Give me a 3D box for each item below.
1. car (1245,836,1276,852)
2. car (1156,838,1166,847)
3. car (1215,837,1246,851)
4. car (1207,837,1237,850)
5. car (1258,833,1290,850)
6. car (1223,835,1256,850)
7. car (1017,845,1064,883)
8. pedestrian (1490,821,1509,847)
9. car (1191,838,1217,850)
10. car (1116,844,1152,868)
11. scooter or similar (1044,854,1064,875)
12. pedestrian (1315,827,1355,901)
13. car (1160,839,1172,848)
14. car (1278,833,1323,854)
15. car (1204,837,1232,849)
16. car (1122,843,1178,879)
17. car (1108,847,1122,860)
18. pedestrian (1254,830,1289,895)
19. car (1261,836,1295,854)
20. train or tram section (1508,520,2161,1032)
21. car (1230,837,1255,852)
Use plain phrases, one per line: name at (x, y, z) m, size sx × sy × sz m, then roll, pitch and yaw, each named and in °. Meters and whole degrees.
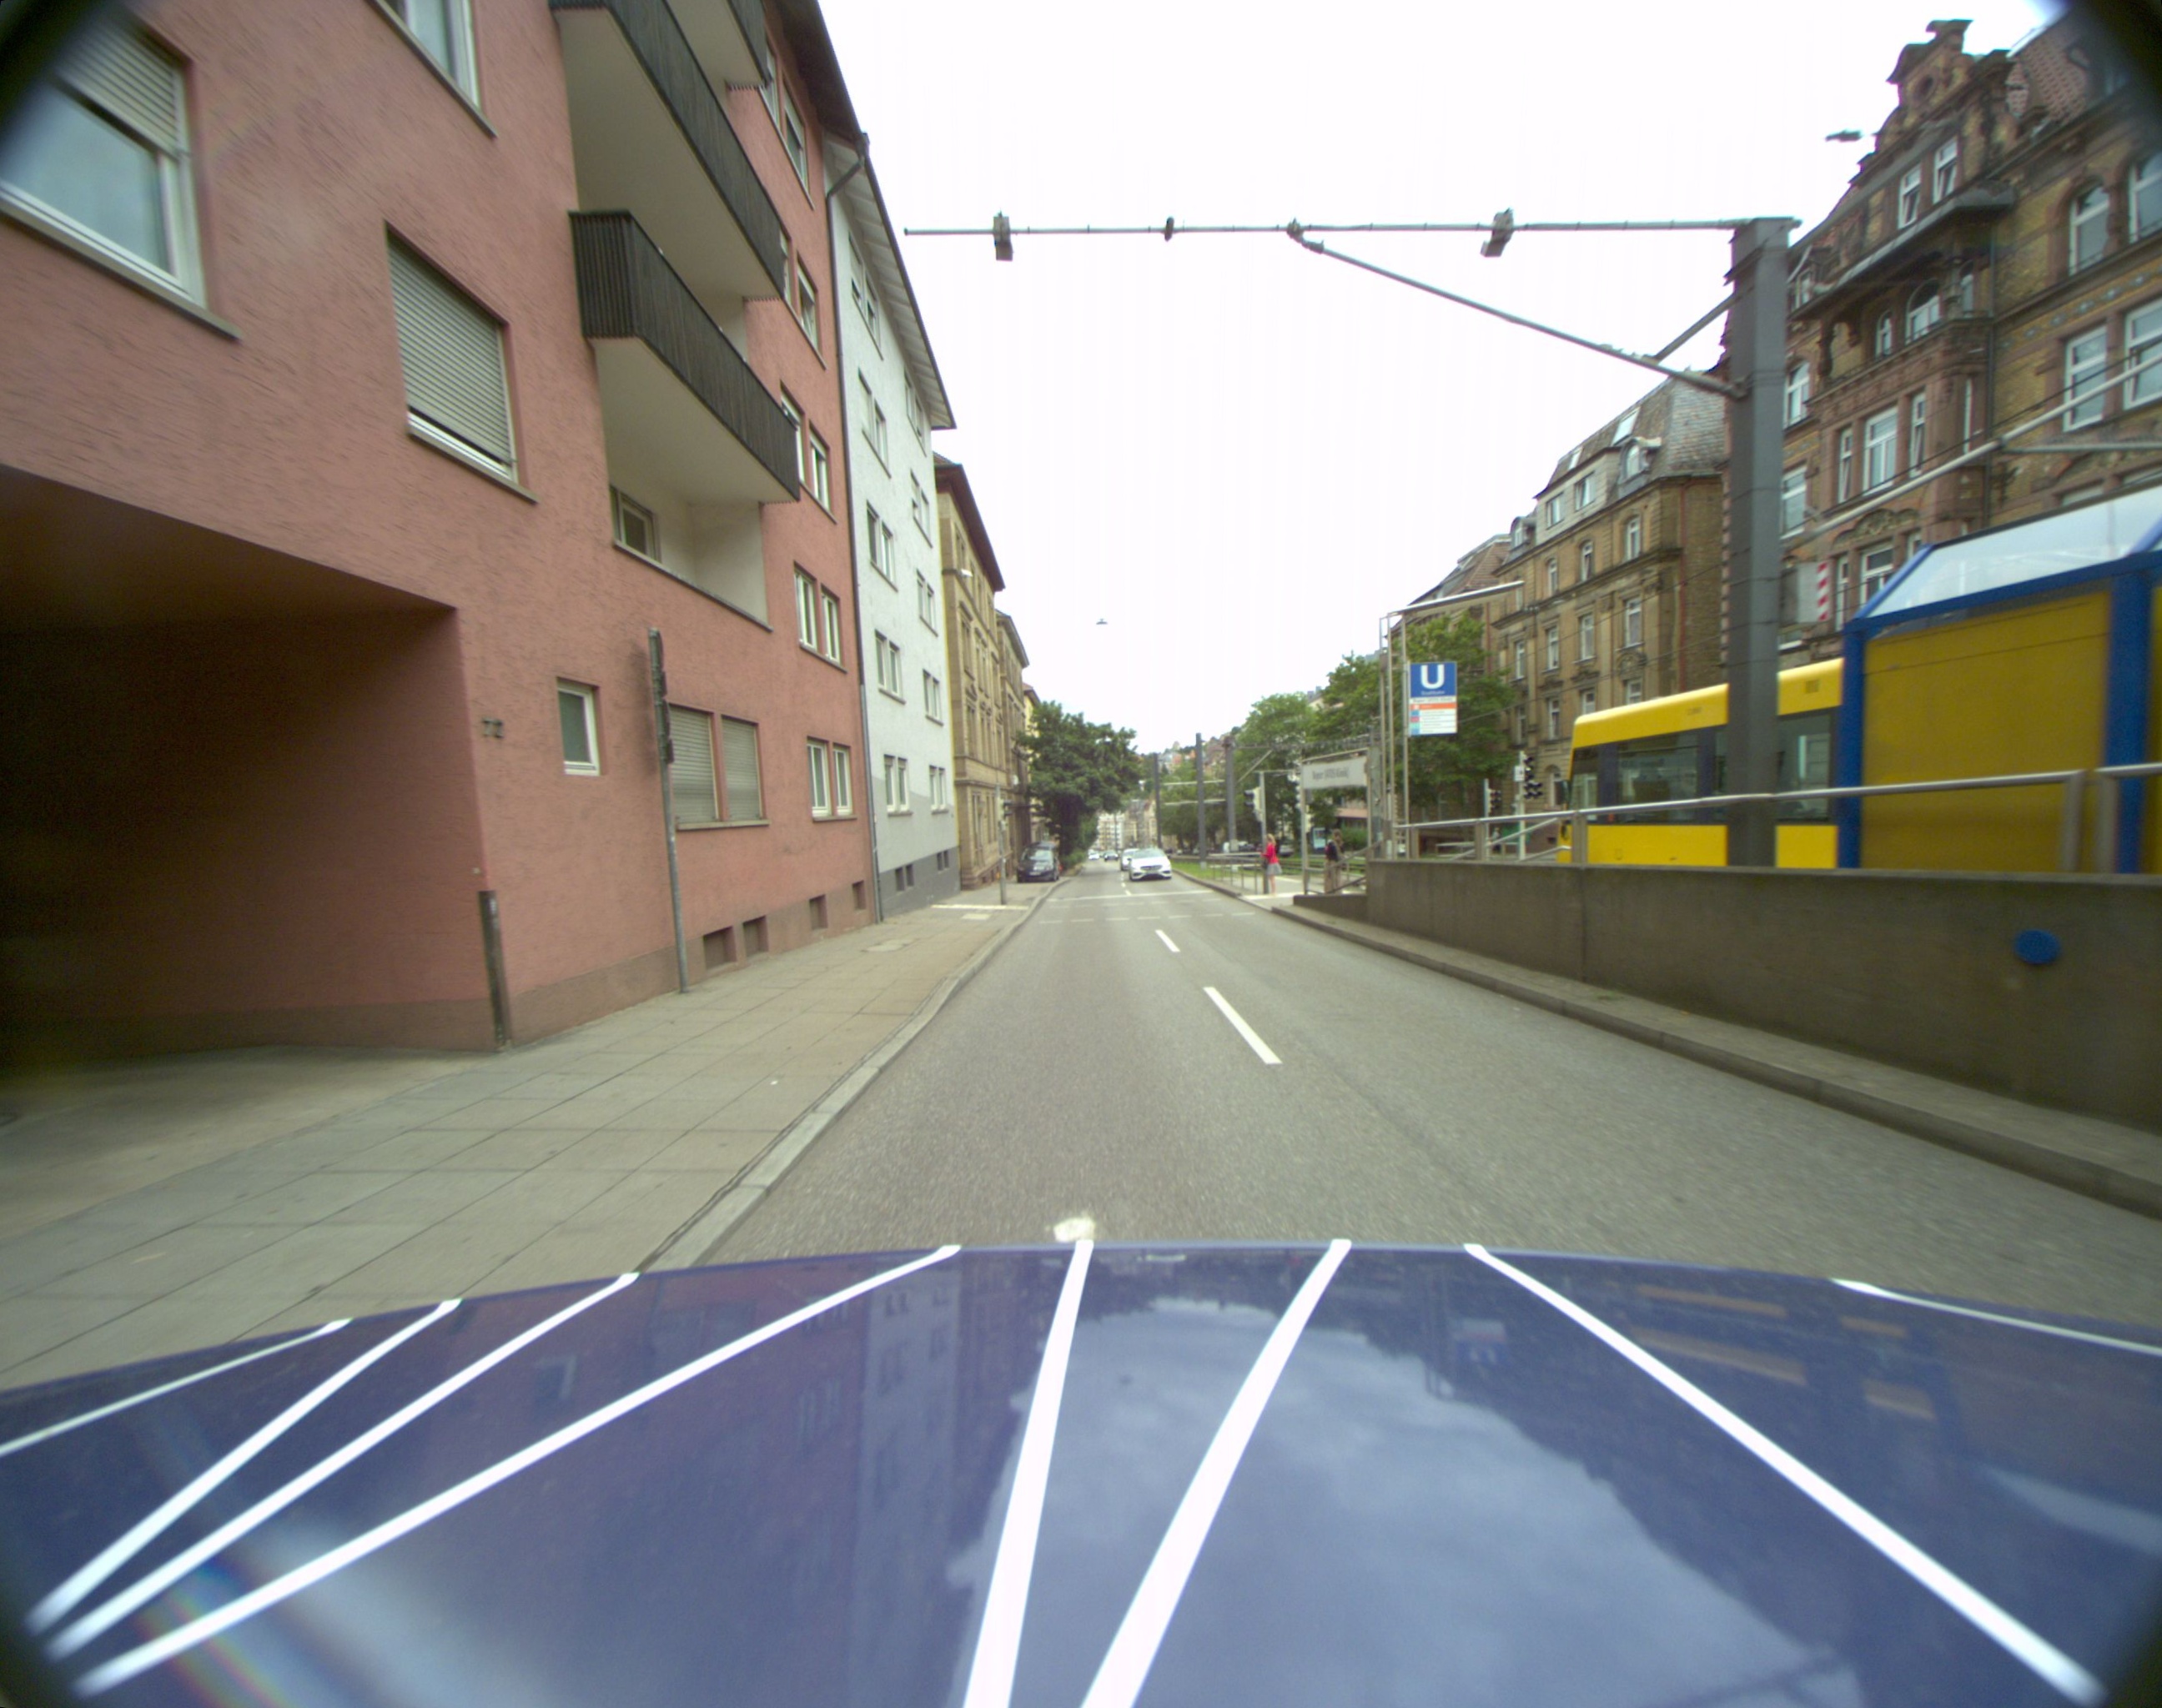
car at (20.468, -1.205, 86.718) m, size 1.780 × 1.678 × 3.865 m, roll -2°, pitch 1°, yaw 42°
car at (19.869, -2.822, 188.473) m, size 1.998 × 2.002 × 4.000 m, roll -3°, pitch 1°, yaw 2°
car at (21.284, -1.377, 108.008) m, size 3.859 × 1.804 × 1.782 m, roll -3°, pitch 2°, yaw -14°
car at (21.106, -1.591, 113.726) m, size 3.859 × 1.804 × 1.782 m, roll -3°, pitch 1°, yaw -14°
car at (21.432, -1.421, 84.344) m, size 1.780 × 1.678 × 3.865 m, roll -2°, pitch 1°, yaw 41°
car at (20.791, -1.558, 99.738) m, size 3.861 × 1.804 × 1.781 m, roll -3°, pitch 1°, yaw -22°
car at (-1.909, 0.427, 36.946) m, size 1.862 × 1.701 × 4.308 m, roll -1°, pitch 1°, yaw 2°
pedestrian at (25.234, -1.181, 45.784) m, size 0.689 × 1.504 × 0.740 m, roll -3°, pitch 1°, yaw 2°
car at (20.684, -1.684, 127.816) m, size 3.859 × 1.804 × 1.782 m, roll -3°, pitch 1°, yaw -14°
car at (3.640, 0.124, 52.961) m, size 1.999 × 1.479 × 4.229 m, roll -5°, pitch 1°, yaw -1°
scooter or similar at (-1.662, 0.640, 46.913) m, size 1.199 × 1.266 × 0.629 m, roll 1°, pitch 2°, yaw -8°
pedestrian at (6.052, 0.231, 18.110) m, size 0.623 × 1.685 × 0.660 m, roll -3°, pitch 2°, yaw -9°
car at (19.611, -2.385, 175.038) m, size 1.999 × 2.002 × 3.998 m, roll -3°, pitch 1°, yaw -5°
car at (20.707, -0.984, 71.641) m, size 3.863 × 1.678 × 1.780 m, roll -4°, pitch 2°, yaw -31°
car at (21.497, -1.736, 119.294) m, size 3.859 × 1.804 × 1.782 m, roll -3°, pitch 1°, yaw -14°
car at (3.105, 0.291, 34.868) m, size 1.999 × 1.390 × 4.229 m, roll -5°, pitch 1°, yaw -1°
car at (4.871, -0.034, 108.454) m, size 1.881 × 1.728 × 4.000 m, roll -3°, pitch 1°, yaw 2°
pedestrian at (5.055, 0.224, 20.200) m, size 0.680 × 1.670 × 0.685 m, roll -3°, pitch 1°, yaw -2°
car at (20.152, -0.923, 77.691) m, size 1.780 × 1.678 × 3.865 m, roll -2°, pitch 1°, yaw 41°
train or tram section at (8.966, -0.703, 7.312) m, size 2.956 × 3.524 × 12.391 m, roll -3°, pitch 3°, yaw 1°
car at (19.793, -1.165, 92.967) m, size 1.780 × 1.678 × 3.863 m, roll -2°, pitch 2°, yaw 29°
